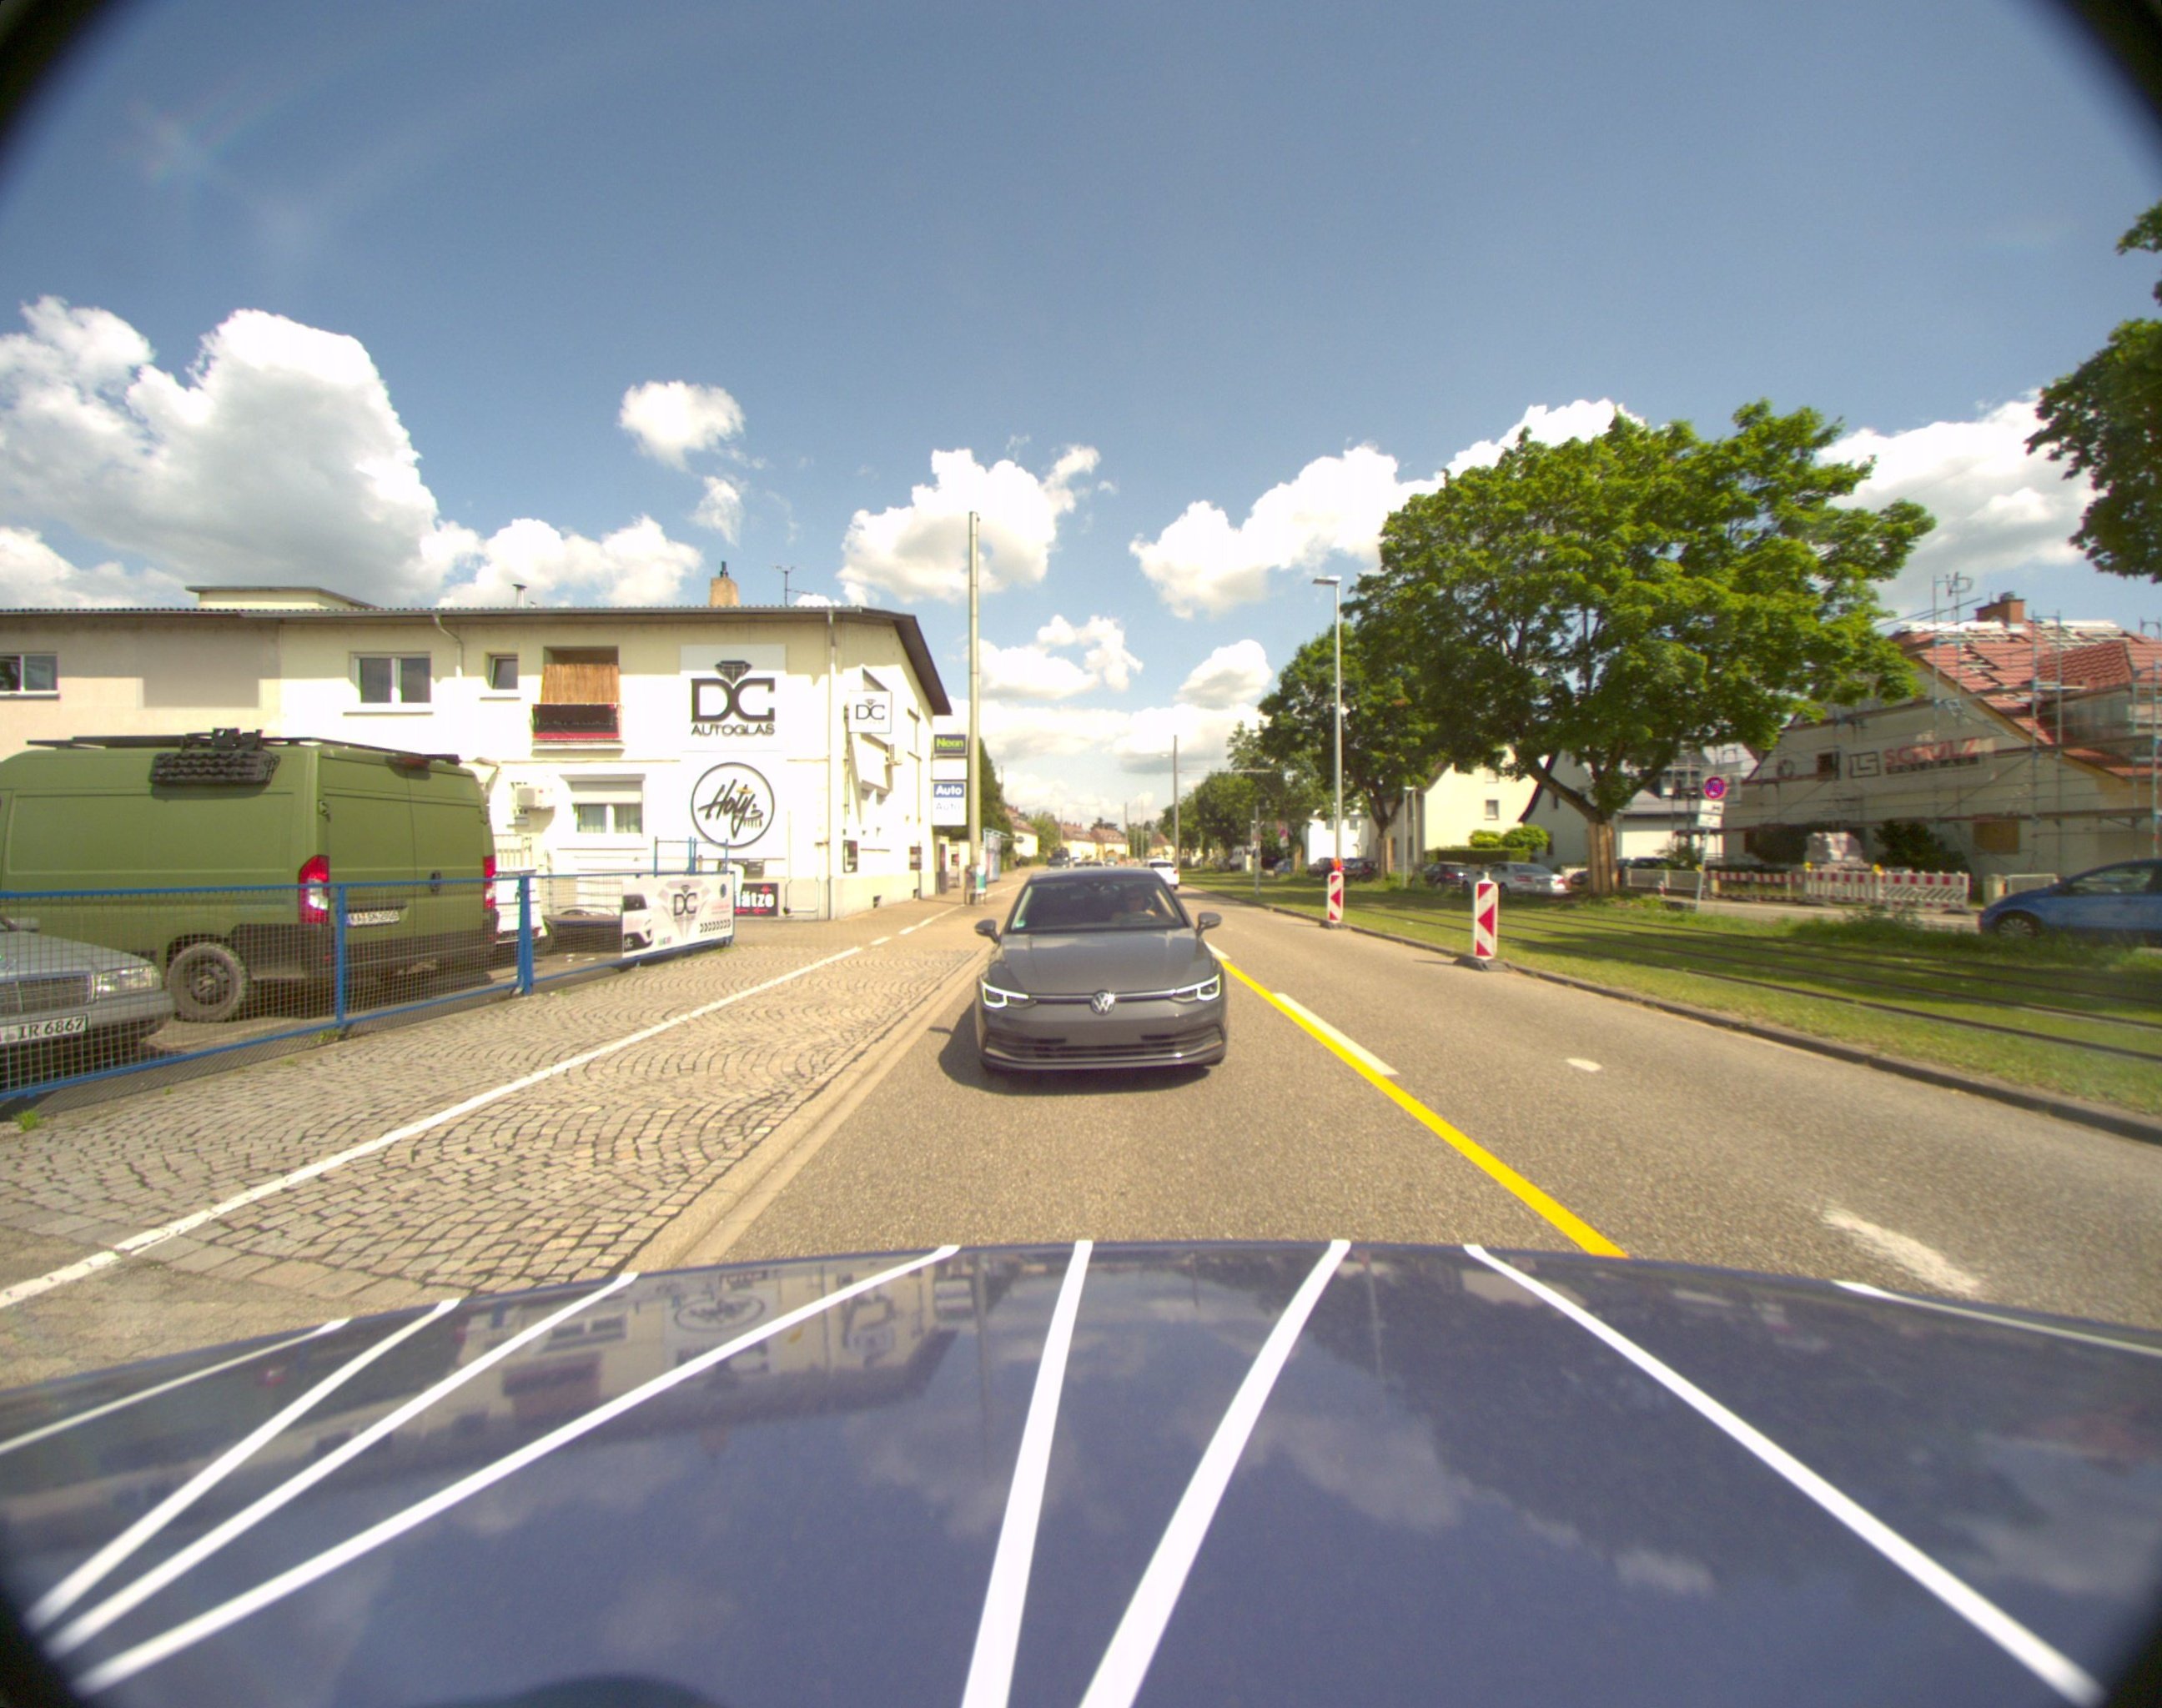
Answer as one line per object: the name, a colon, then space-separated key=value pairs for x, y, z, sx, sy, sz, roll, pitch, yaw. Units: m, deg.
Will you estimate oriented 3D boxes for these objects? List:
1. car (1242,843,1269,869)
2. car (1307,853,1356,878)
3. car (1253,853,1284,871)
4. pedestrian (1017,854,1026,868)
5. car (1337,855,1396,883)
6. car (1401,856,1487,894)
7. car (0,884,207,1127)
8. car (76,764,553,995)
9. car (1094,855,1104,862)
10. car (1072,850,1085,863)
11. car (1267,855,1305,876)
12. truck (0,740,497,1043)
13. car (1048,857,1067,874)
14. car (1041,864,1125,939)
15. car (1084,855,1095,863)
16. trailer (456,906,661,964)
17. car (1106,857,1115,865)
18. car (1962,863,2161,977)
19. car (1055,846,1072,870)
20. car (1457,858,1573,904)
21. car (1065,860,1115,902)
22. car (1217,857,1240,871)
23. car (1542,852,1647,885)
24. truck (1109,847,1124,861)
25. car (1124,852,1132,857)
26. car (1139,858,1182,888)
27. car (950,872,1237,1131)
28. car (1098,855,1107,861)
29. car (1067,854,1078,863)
car: x=17.648 y=0.194 z=77.017 sx=1.755 sy=2.601 sz=4.606 roll=0 pitch=0 yaw=0
car: x=16.681 y=0.760 z=50.906 sx=1.755 sy=1.602 sz=4.606 roll=0 pitch=0 yaw=0
car: x=17.587 y=0.753 z=71.495 sx=1.755 sy=1.602 sz=4.606 roll=0 pitch=0 yaw=0
pedestrian: x=-6.497 y=0.756 z=82.826 sx=0.816 sy=1.577 sz=0.918 roll=0 pitch=0 yaw=1
car: x=16.903 y=0.847 z=45.266 sx=1.755 sy=1.602 sz=4.606 roll=0 pitch=0 yaw=0
car: x=16.592 y=0.913 z=35.028 sx=1.755 sy=1.602 sz=4.606 roll=0 pitch=0 yaw=0
car: x=-8.434 y=0.916 z=4.809 sx=4.206 sy=1.388 sz=1.804 roll=0 pitch=0 yaw=8
car: x=-9.452 y=0.300 z=9.651 sx=4.209 sy=2.653 sz=1.803 roll=0 pitch=0 yaw=0
car: x=4.108 y=0.997 z=172.735 sx=1.718 sy=1.470 sz=4.011 roll=0 pitch=0 yaw=8
car: x=-0.426 y=0.400 z=136.322 sx=1.719 sy=2.360 sz=5.211 roll=0 pitch=0 yaw=5
car: x=16.497 y=0.913 z=61.355 sx=1.755 sy=1.602 sz=4.606 roll=0 pitch=0 yaw=0
truck: x=-8.621 y=0.327 z=7.565 sx=3.997 sy=2.592 sz=2.069 roll=0 pitch=0 yaw=1
car: x=-2.158 y=1.065 z=70.986 sx=1.720 sy=1.470 sz=4.009 roll=0 pitch=0 yaw=0
car: x=0.066 y=1.005 z=17.589 sx=1.719 sy=1.470 sz=4.009 roll=0 pitch=0 yaw=1
car: x=1.818 y=0.989 z=155.301 sx=1.718 sy=1.470 sz=4.011 roll=0 pitch=0 yaw=8
trailer: x=-8.060 y=1.236 z=11.835 sx=2.329 sy=0.762 sz=1.269 roll=0 pitch=0 yaw=2
car: x=5.578 y=1.369 z=142.728 sx=1.755 sy=1.405 sz=4.262 roll=0 pitch=0 yaw=3
car: x=16.248 y=0.954 z=11.231 sx=1.755 sy=1.602 sz=4.050 roll=0 pitch=0 yaw=0
car: x=-1.915 y=0.411 z=82.848 sx=1.720 sy=2.526 sz=5.794 roll=0 pitch=0 yaw=0
car: x=16.391 y=0.961 z=29.006 sx=1.755 sy=1.602 sz=4.606 roll=0 pitch=0 yaw=0
car: x=0.351 y=0.992 z=29.463 sx=1.787 sy=1.470 sz=4.009 roll=0 pitch=0 yaw=1
car: x=16.935 y=1.150 z=87.269 sx=1.755 sy=1.602 sz=4.606 roll=0 pitch=0 yaw=0
car: x=25.514 y=0.716 z=37.831 sx=4.047 sy=1.602 sz=1.757 roll=0 pitch=0 yaw=1
truck: x=9.409 y=0.023 z=201.134 sx=2.590 sy=3.431 sz=8.585 roll=0 pitch=0 yaw=11
car: x=13.535 y=0.236 z=218.476 sx=1.718 sy=1.470 sz=4.013 roll=0 pitch=0 yaw=13
car: x=3.880 y=0.909 z=37.652 sx=1.719 sy=1.405 sz=4.262 roll=0 pitch=0 yaw=1
car: x=0.102 y=0.935 z=6.580 sx=1.719 sy=1.470 sz=4.009 roll=0 pitch=0 yaw=1
car: x=5.181 y=0.998 z=179.085 sx=1.718 sy=1.470 sz=4.011 roll=0 pitch=0 yaw=8
car: x=-1.362 y=0.739 z=122.958 sx=1.720 sy=1.470 sz=4.009 roll=0 pitch=0 yaw=0
